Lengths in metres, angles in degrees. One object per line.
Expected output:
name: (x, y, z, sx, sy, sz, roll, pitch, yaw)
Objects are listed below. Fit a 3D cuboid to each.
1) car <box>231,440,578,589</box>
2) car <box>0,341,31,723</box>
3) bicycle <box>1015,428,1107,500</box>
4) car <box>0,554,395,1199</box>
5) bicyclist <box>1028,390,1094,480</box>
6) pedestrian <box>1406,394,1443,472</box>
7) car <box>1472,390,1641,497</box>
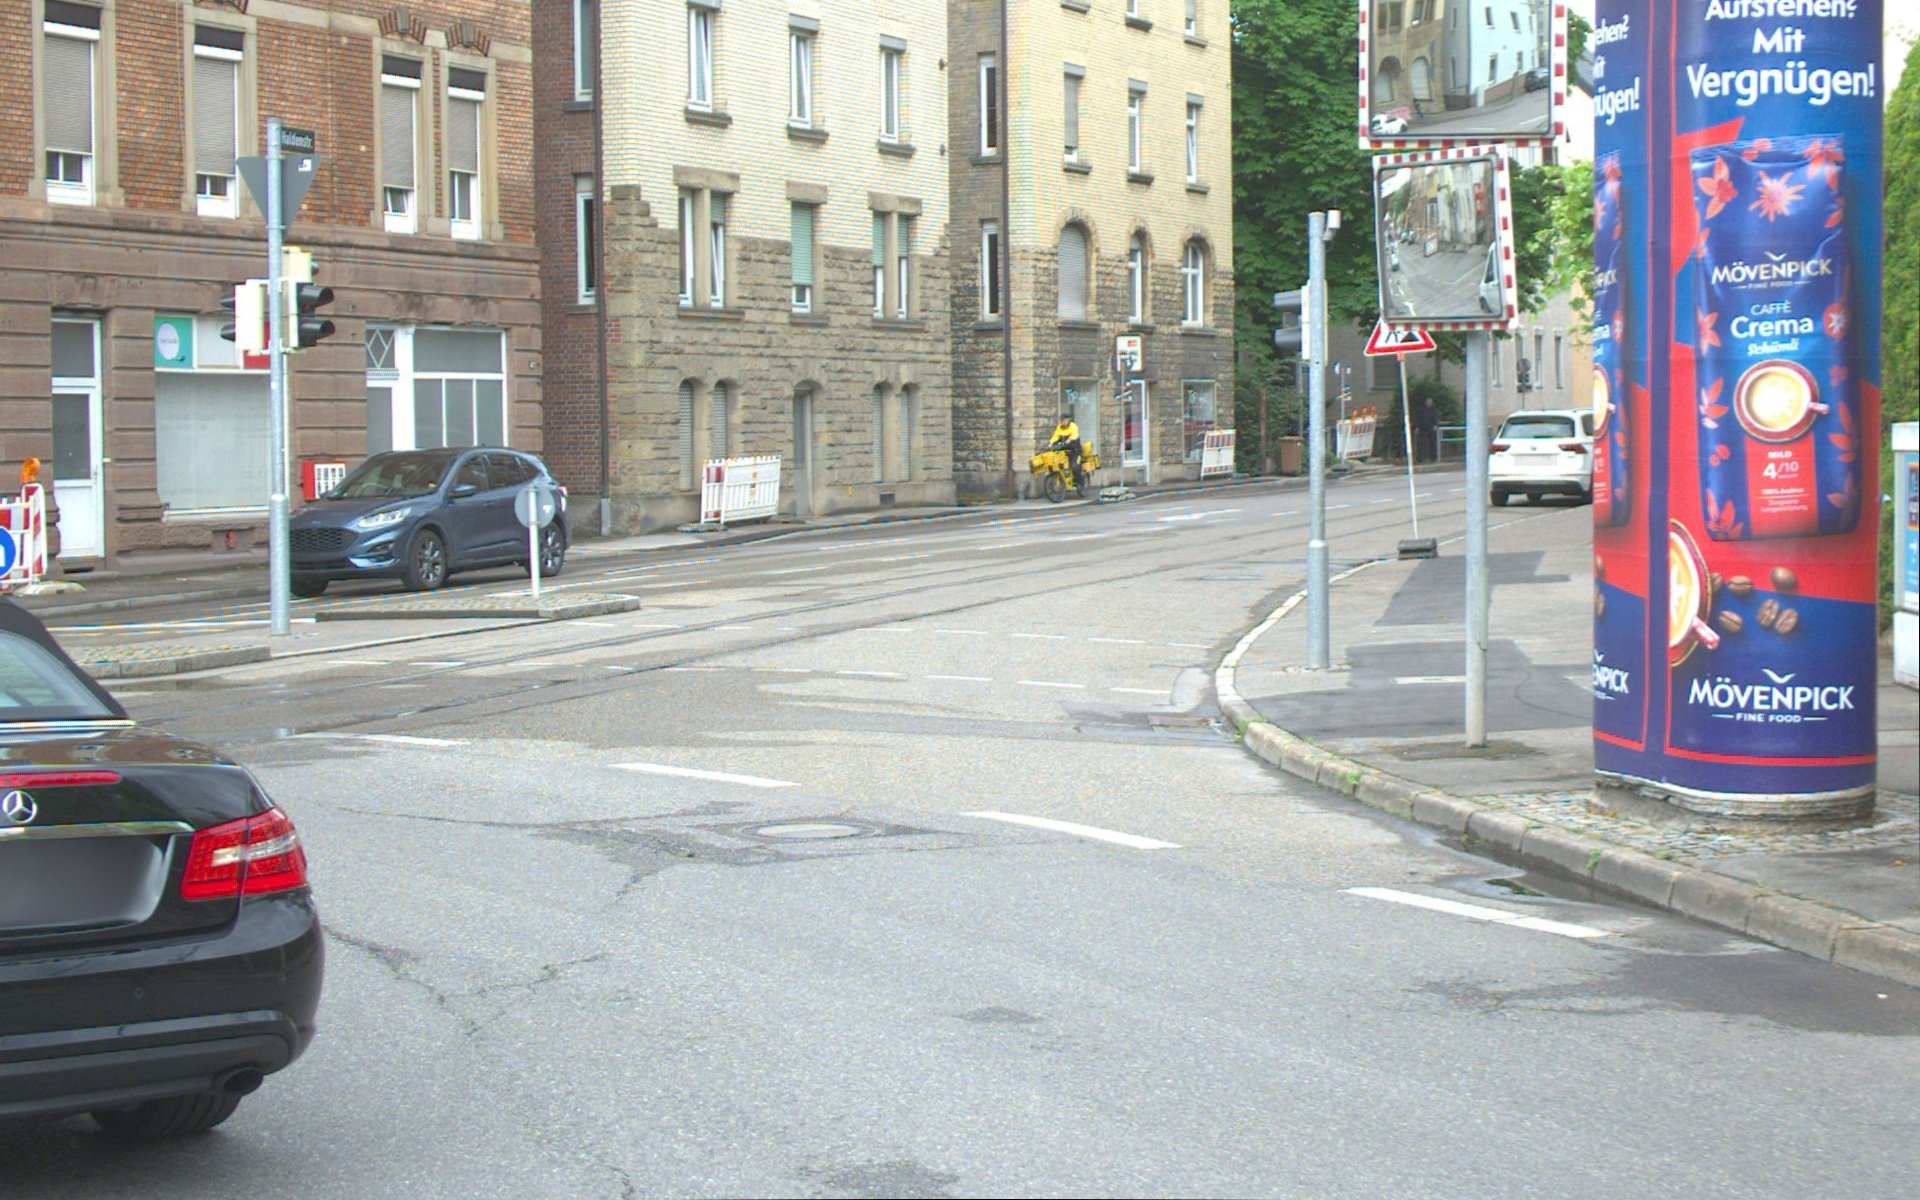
car: (-6.466, -1.042, 40.505, 1.996, 1.509, 4.281, -2, 3, 23)
car: (-7.119, -0.221, 18.320, 4.641, 1.922, 1.893, -2, 2, 43)
bicycle: (2.001, -2.685, 67.528, 0.632, 1.302, 2.595, -3, 2, 29)
car: (-3.258, 0.695, 8.767, 1.762, 1.404, 4.398, -5, 2, -35)
bicyclist: (1.985, -3.249, 67.603, 0.945, 1.696, 0.784, -3, 2, 28)
pedestrian: (12.236, -4.393, 90.520, 0.765, 2.006, 0.753, -3, 2, 13)
car: (10.357, -2.710, 59.516, 1.951, 1.712, 3.996, -2, 2, 23)
